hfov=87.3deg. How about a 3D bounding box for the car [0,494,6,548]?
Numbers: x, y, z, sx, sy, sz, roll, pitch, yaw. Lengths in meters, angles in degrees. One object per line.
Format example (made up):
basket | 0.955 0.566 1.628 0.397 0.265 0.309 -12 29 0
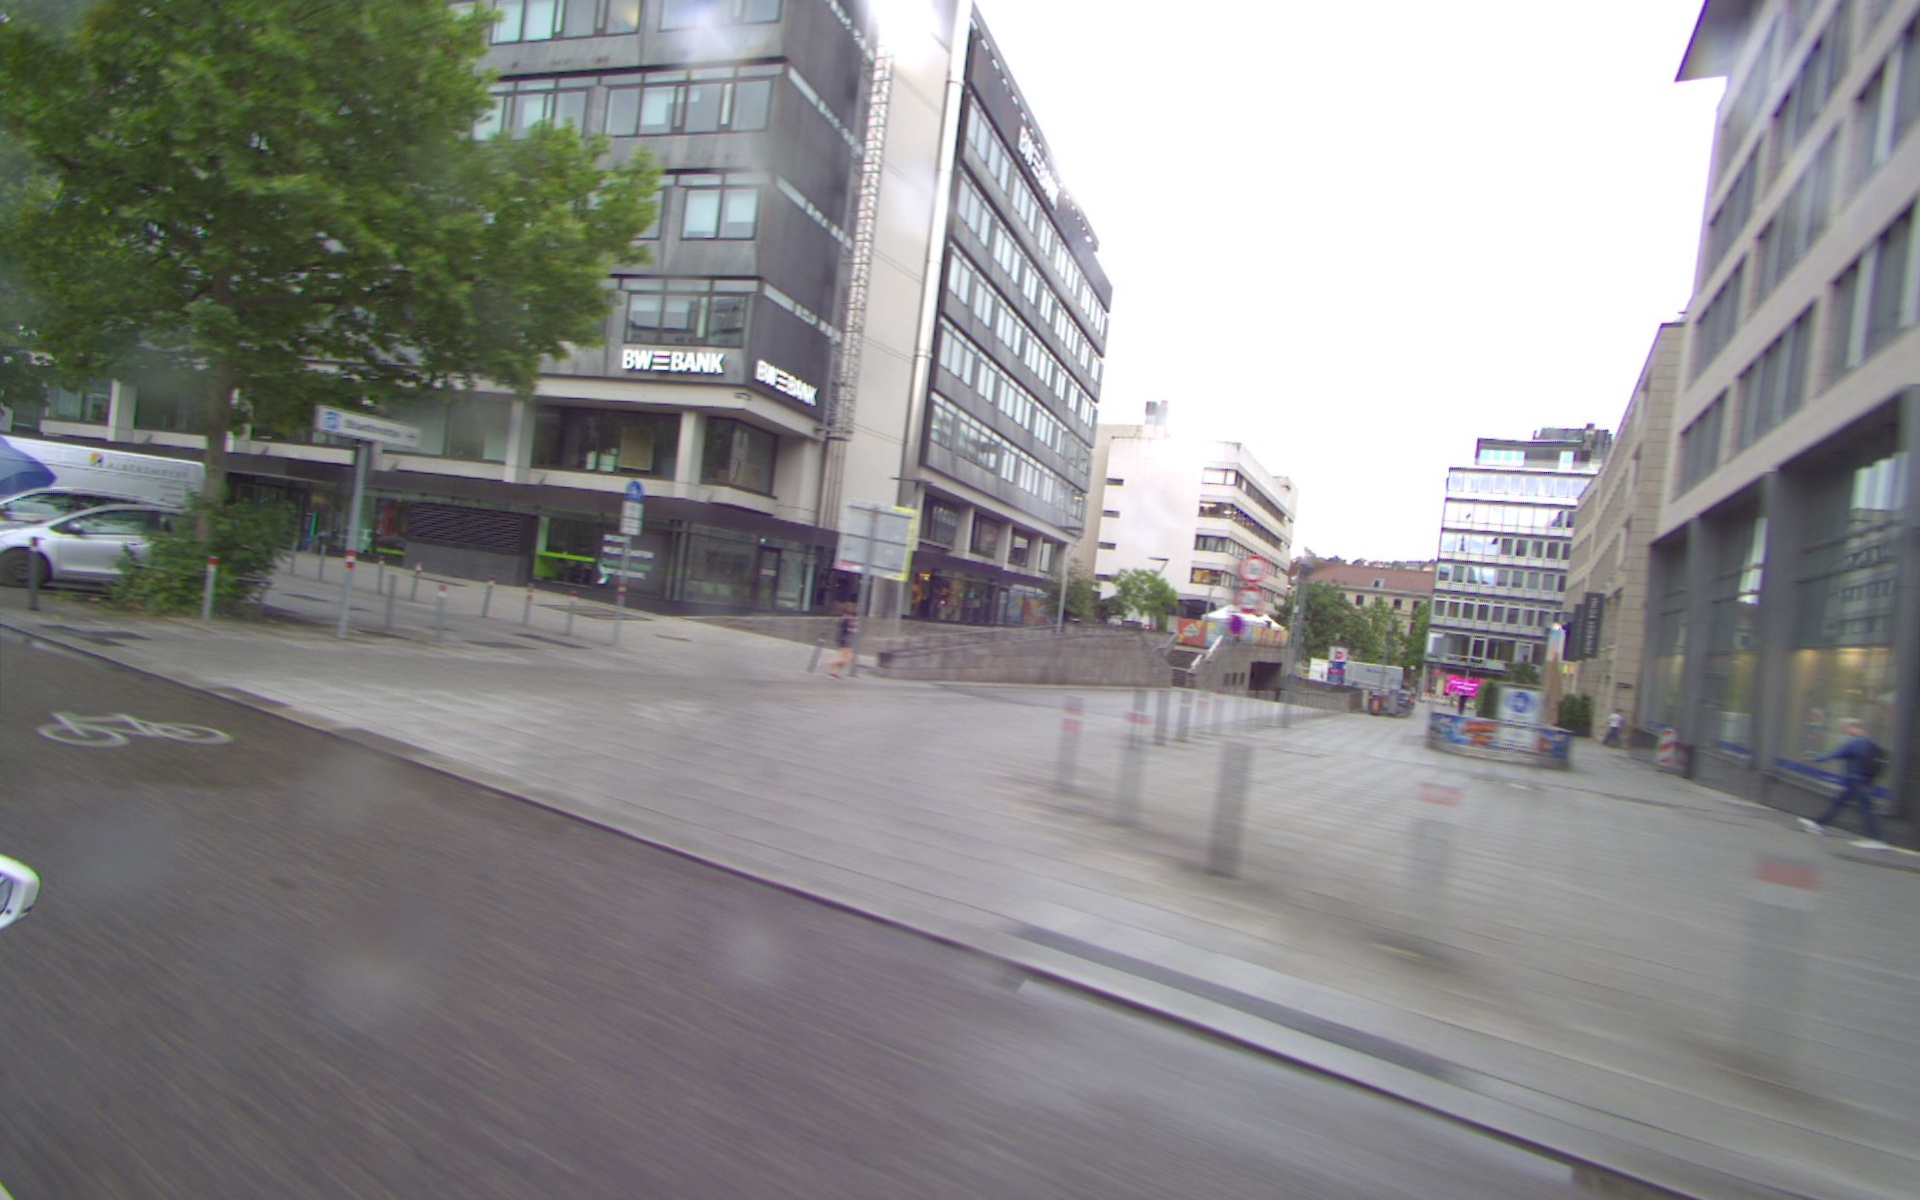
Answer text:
car | -27.412 -2.348 25.489 4.334 1.453 1.747 7 -1 -32

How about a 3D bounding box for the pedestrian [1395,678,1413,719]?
pedestrian | 22.857 5.048 51.775 0.562 2.038 0.705 7 0 28

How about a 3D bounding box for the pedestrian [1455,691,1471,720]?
pedestrian | 30.852 6.486 61.712 0.677 1.651 0.682 7 0 34

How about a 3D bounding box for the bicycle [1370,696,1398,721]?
bicycle | 20.858 5.335 49.500 1.176 1.052 0.350 6 -1 31

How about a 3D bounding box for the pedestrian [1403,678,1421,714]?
pedestrian | 26.639 5.654 59.293 0.633 2.038 0.705 7 0 31

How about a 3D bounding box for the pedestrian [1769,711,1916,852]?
pedestrian | 13.424 2.734 15.337 0.907 1.872 1.271 7 -1 -21

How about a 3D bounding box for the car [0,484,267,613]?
car | -13.694 -0.817 16.476 3.633 1.565 1.696 8 -1 -39

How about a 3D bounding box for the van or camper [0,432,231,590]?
van or camper | -18.328 -1.864 19.829 6.021 2.589 2.088 7 -1 -31

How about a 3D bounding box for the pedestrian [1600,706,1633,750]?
pedestrian | 30.685 5.967 47.028 1.068 1.852 0.726 7 0 31

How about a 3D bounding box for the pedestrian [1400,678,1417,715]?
pedestrian | 25.149 5.410 56.437 0.562 2.038 0.704 7 0 31

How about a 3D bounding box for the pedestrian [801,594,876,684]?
pedestrian | -2.545 0.819 21.055 1.173 1.716 0.803 7 -1 -25

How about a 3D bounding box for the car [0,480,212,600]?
car | -16.071 -1.127 17.817 4.228 1.687 1.803 8 -1 -32
